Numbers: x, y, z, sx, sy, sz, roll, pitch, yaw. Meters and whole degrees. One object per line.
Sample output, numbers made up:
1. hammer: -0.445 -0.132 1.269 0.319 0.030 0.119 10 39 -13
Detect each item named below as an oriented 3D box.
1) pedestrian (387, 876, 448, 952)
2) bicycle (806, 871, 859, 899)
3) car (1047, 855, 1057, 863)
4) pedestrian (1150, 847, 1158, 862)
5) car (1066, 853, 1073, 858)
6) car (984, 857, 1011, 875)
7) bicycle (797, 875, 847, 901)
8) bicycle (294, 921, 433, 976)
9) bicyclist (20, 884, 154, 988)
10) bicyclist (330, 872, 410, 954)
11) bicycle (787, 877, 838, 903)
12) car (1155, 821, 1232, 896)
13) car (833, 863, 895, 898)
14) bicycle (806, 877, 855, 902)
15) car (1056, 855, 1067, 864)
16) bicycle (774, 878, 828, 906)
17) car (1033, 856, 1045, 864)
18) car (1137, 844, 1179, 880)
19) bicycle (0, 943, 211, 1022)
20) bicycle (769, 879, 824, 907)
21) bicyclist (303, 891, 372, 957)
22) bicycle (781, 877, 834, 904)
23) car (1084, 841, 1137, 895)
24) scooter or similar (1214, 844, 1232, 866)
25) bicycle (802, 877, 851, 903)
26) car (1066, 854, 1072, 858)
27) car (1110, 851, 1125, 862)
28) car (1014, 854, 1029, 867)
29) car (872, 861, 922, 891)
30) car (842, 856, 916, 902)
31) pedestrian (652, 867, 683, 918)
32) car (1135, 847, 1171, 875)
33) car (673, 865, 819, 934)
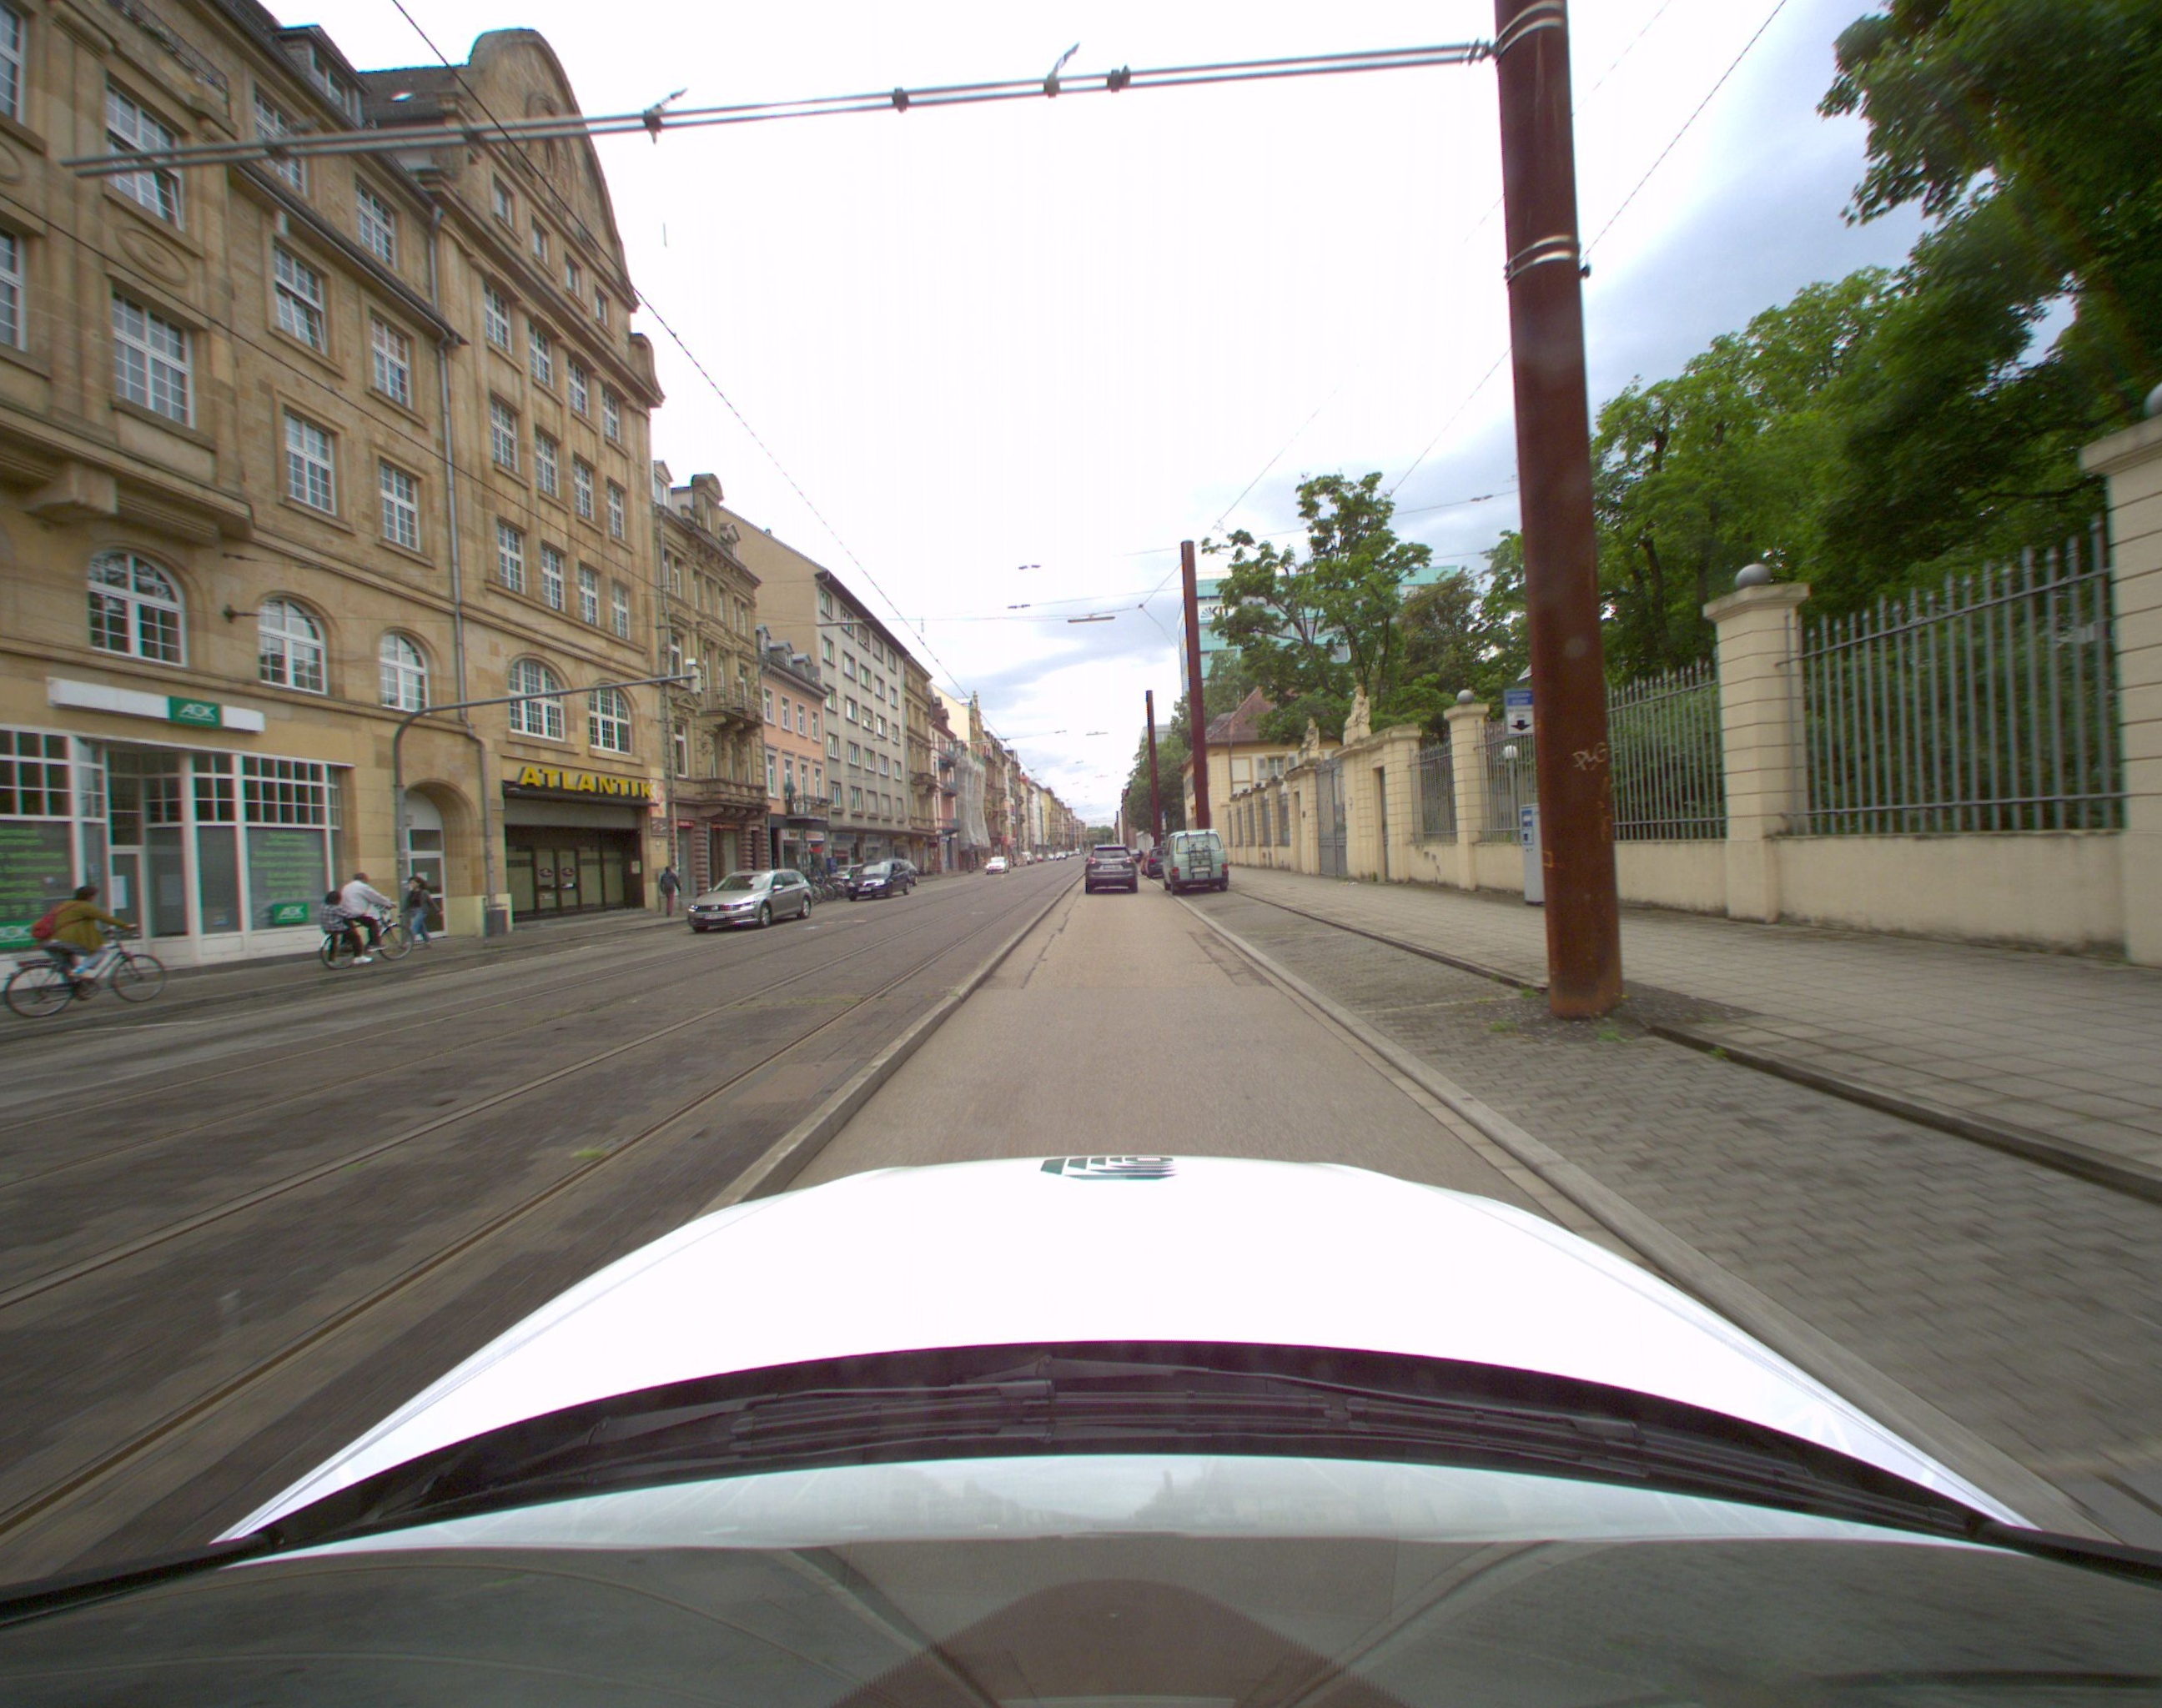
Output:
1. pedestrian: -14.824 1.323 18.215 0.682 1.613 0.742 -3 0 1
2. bicycle: -11.369 1.398 37.268 2.228 1.126 0.503 -3 0 -6
3. car: -6.276 1.122 178.167 1.988 1.635 3.997 -3 -1 -1
4. pedestrian: 8.922 0.060 99.828 0.907 1.886 0.846 -3 -1 1
5. car: -3.446 0.530 247.420 1.988 1.266 3.997 -3 -1 -1
6. car: -7.241 1.002 70.943 1.681 1.420 4.136 -3 0 1
7. bicycle: -11.242 1.475 35.428 1.964 1.001 0.462 -3 0 -6
8. bicycle: -13.673 1.773 15.626 0.579 0.745 2.251 -3 0 2
9. bicyclist: -13.803 1.108 11.342 0.609 1.324 0.972 -3 0 2
10. bicyclist: -13.702 1.110 15.721 0.609 1.487 0.972 -3 0 2
11. bicycle: -11.353 1.515 34.479 1.964 1.001 0.462 -3 0 -6
12. car: 3.674 0.140 27.494 1.845 2.115 4.986 -6 0 1
13. car: -10.924 1.290 41.294 1.769 1.504 4.403 -3 0 1
14. bicycle: -11.244 1.582 36.591 1.964 1.001 0.462 -3 0 -6
15. car: -3.881 1.066 161.645 1.988 1.635 3.997 -3 -1 -1
16. bicycle: -11.379 1.543 33.102 1.964 1.001 0.462 -3 0 -6
17. car: -7.630 1.089 147.309 1.988 1.464 3.997 -3 -1 -1
18. car: 3.900 0.379 41.741 1.743 1.596 3.925 -6 0 1
19. bicycle: -13.764 1.759 11.446 0.579 0.745 2.251 -3 0 2
20. bicycle: -11.316 1.551 32.391 1.964 1.001 0.462 -3 0 -6
21. bicyclist: -13.713 1.277 15.029 0.609 1.117 0.660 -3 0 1
22. bicycle: -11.305 1.512 33.672 1.964 1.001 0.462 -3 0 -6
23. car: 1.049 0.461 29.308 1.743 1.756 3.925 -2 0 1
24. scooter or similar: 8.548 0.074 49.079 0.744 1.250 1.920 -3 -1 1
25. bicycle: -11.252 1.578 35.997 1.964 1.001 0.462 -3 0 -6
26. car: -3.795 0.627 253.414 1.988 1.266 3.997 -3 -1 -1
27. car: 4.850 0.312 108.974 1.769 1.420 4.136 -3 0 1
28. car: -8.532 0.976 116.949 1.988 1.706 3.997 -3 -1 -1
29. car: -10.695 1.238 47.671 1.769 1.504 4.403 -3 0 1
30. car: -8.401 1.000 34.316 1.752 1.671 4.616 -3 0 2
31. pedestrian: -13.603 1.252 26.816 0.566 1.598 0.718 -3 0 1
32. car: 4.221 0.406 48.137 1.743 1.441 3.925 -6 0 1
33. car: -8.684 1.117 21.608 1.752 1.449 4.616 -3 0 2
